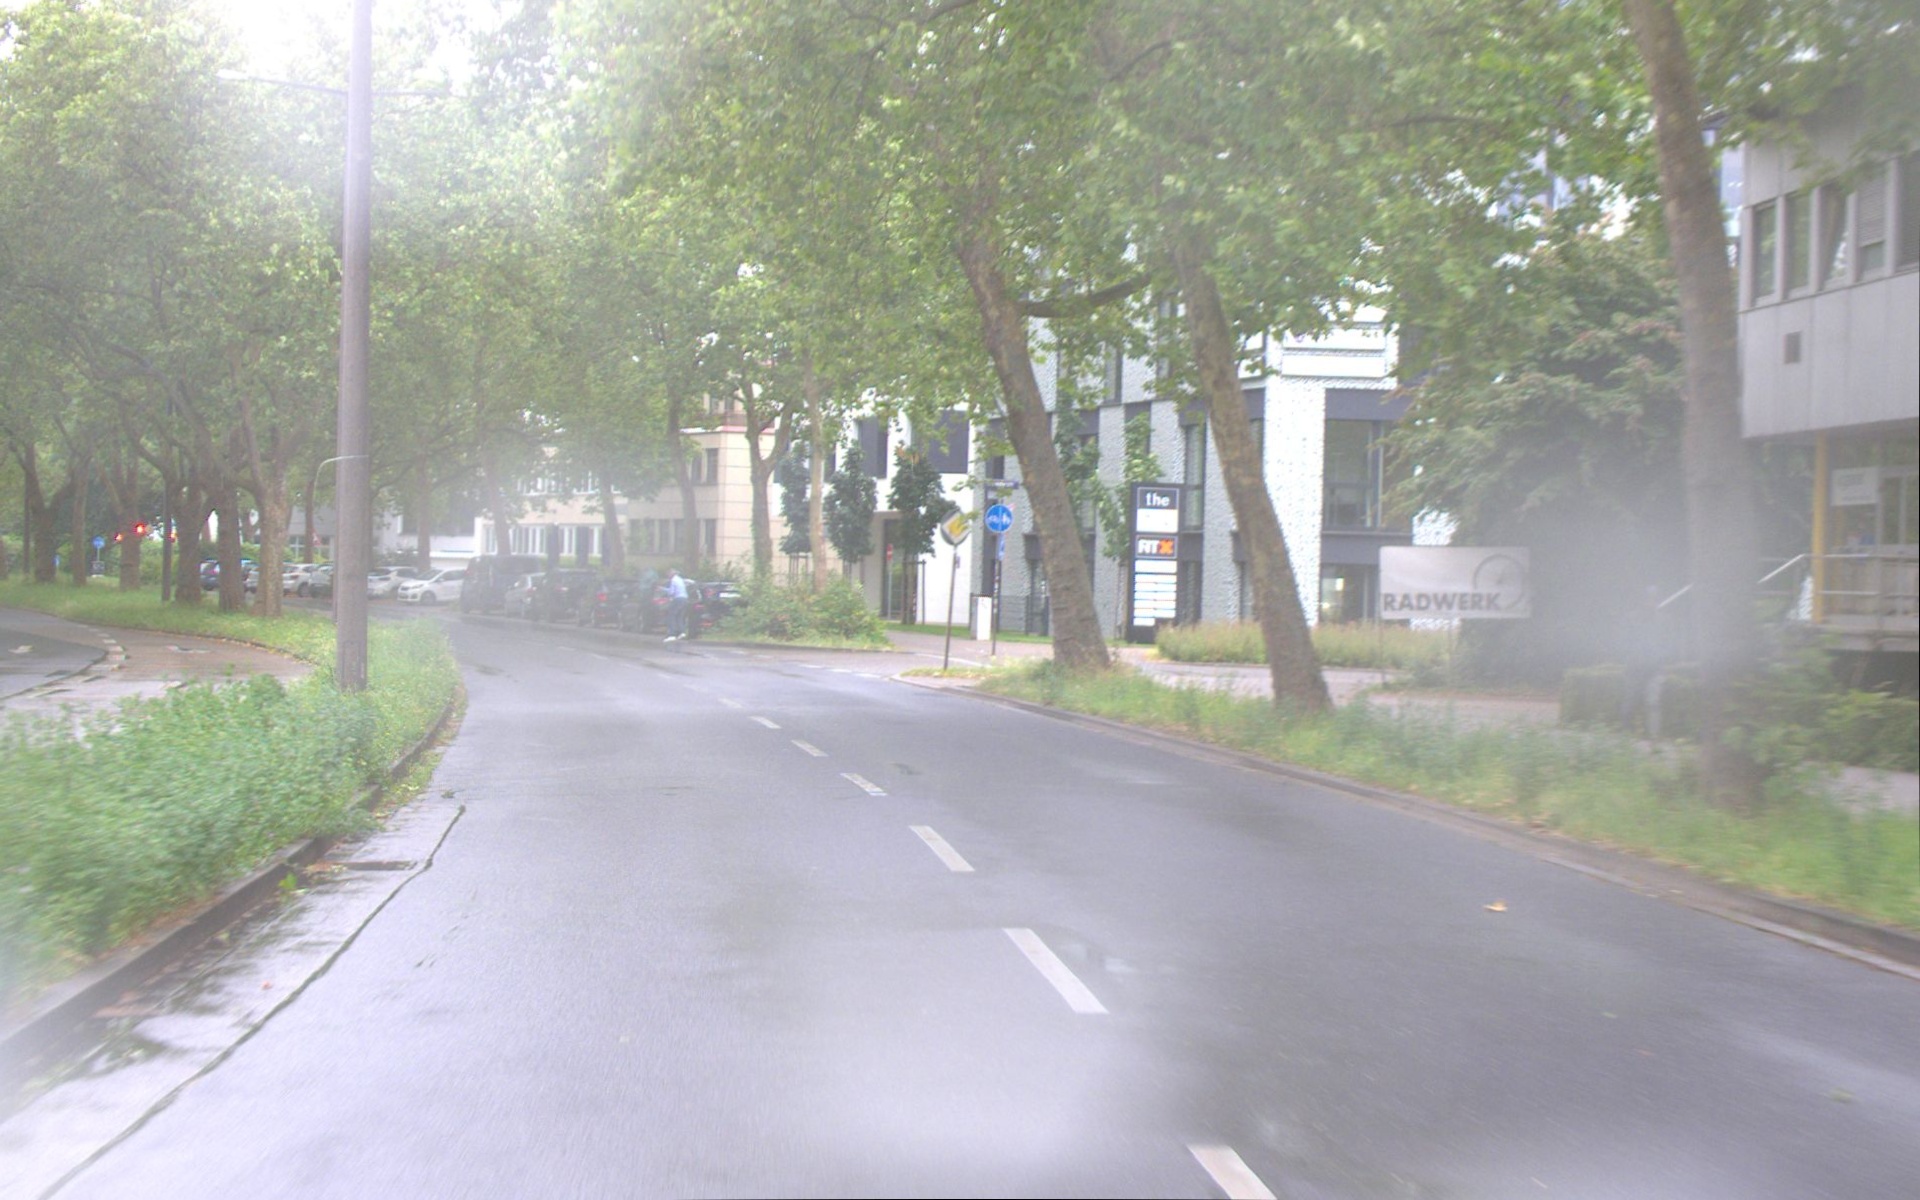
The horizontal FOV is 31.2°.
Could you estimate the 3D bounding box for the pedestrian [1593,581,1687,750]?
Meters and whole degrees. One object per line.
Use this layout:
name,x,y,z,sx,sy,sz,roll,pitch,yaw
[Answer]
pedestrian,6.936,0.658,35.090,0.670,1.662,0.825,2,2,-5

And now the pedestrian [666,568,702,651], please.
pedestrian,-6.611,0.218,82.322,0.706,1.943,0.857,2,2,2

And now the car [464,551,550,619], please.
car,-15.125,-0.509,114.672,2.121,2.081,4.002,1,2,-18

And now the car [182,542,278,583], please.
car,-34.520,-1.775,162.528,3.986,1.814,2.000,1,2,-27

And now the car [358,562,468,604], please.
car,-21.665,-0.672,136.157,3.867,1.488,1.888,1,2,-28

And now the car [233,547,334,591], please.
car,-30.391,-1.398,154.434,3.986,1.814,2.000,1,2,-27

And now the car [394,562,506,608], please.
car,-19.683,-0.580,132.615,3.866,1.645,1.888,1,2,-23

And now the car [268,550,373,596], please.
car,-27.805,-1.173,149.409,3.987,1.825,2.000,1,2,-31

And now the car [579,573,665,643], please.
car,-9.514,0.212,96.505,1.993,1.776,4.001,2,2,-11

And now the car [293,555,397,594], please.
car,-25.868,-1.068,144.640,3.867,1.499,1.888,1,2,-28

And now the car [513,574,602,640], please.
car,-12.104,0.192,103.278,1.993,1.776,4.002,1,2,-16
